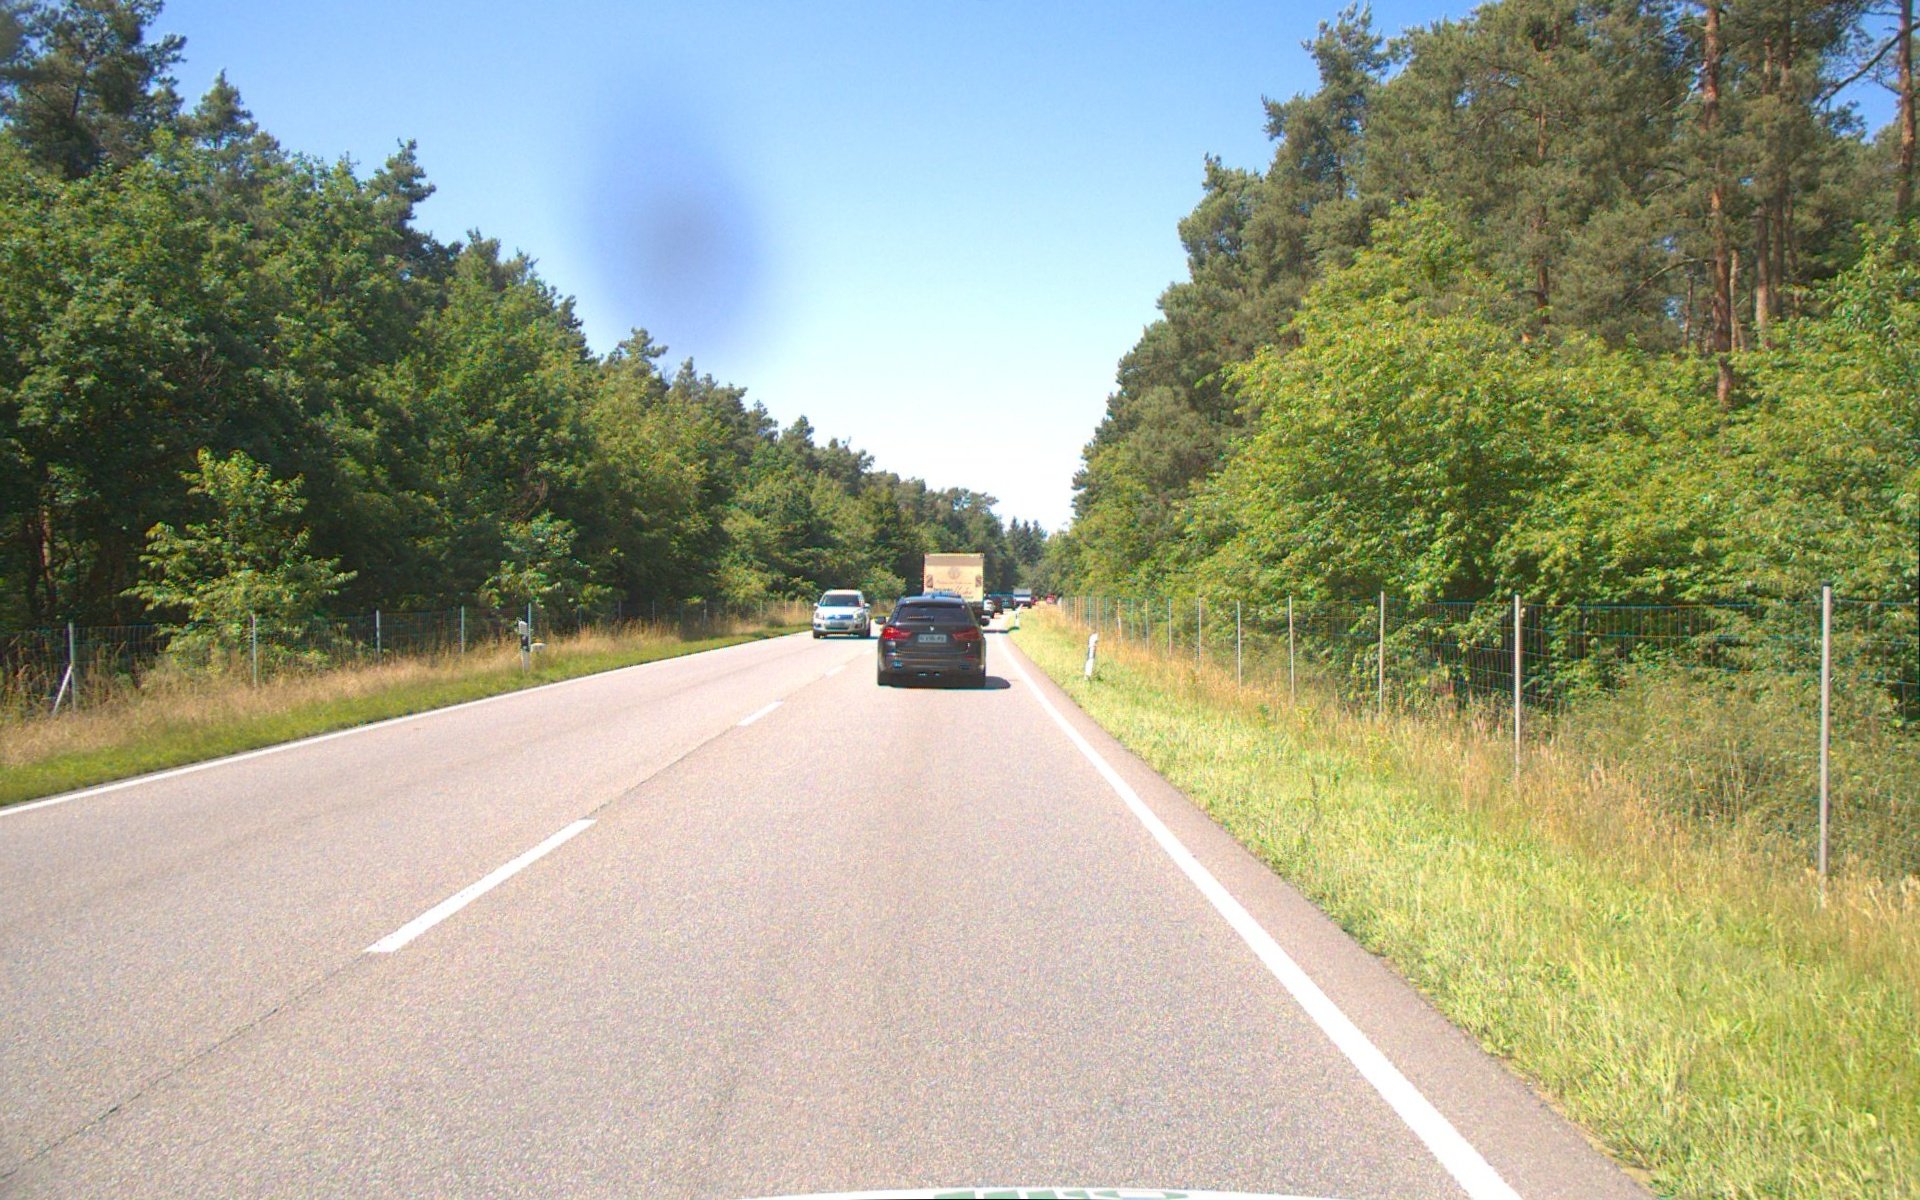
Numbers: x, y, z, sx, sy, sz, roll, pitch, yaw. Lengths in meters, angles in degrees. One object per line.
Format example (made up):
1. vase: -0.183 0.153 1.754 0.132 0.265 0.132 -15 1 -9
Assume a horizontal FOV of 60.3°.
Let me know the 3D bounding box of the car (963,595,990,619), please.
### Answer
1. car: 1.161 0.463 114.181 1.824 1.633 4.000 0 0 1

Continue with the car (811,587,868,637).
1. car: -4.142 0.396 57.372 1.825 1.657 4.091 0 0 -3

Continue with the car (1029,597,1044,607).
1. car: 10.634 0.233 231.078 1.756 1.378 3.932 0 0 7

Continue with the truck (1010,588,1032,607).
1. truck: 7.396 -0.361 200.934 2.510 2.240 4.977 0 1 4

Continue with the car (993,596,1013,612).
1. car: 4.521 0.393 174.378 1.952 1.665 4.002 -1 0 4

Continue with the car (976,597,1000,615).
1. car: 2.322 0.471 138.526 1.952 1.445 4.000 0 1 0

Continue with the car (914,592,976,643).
1. car: -0.444 0.530 53.803 1.907 1.569 4.000 -1 0 0

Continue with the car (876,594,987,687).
1. car: -0.507 0.640 28.618 1.783 1.496 3.999 0 0 -1

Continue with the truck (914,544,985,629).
1. truck: -0.475 -0.562 71.568 2.905 3.447 6.437 -1 0 -1
